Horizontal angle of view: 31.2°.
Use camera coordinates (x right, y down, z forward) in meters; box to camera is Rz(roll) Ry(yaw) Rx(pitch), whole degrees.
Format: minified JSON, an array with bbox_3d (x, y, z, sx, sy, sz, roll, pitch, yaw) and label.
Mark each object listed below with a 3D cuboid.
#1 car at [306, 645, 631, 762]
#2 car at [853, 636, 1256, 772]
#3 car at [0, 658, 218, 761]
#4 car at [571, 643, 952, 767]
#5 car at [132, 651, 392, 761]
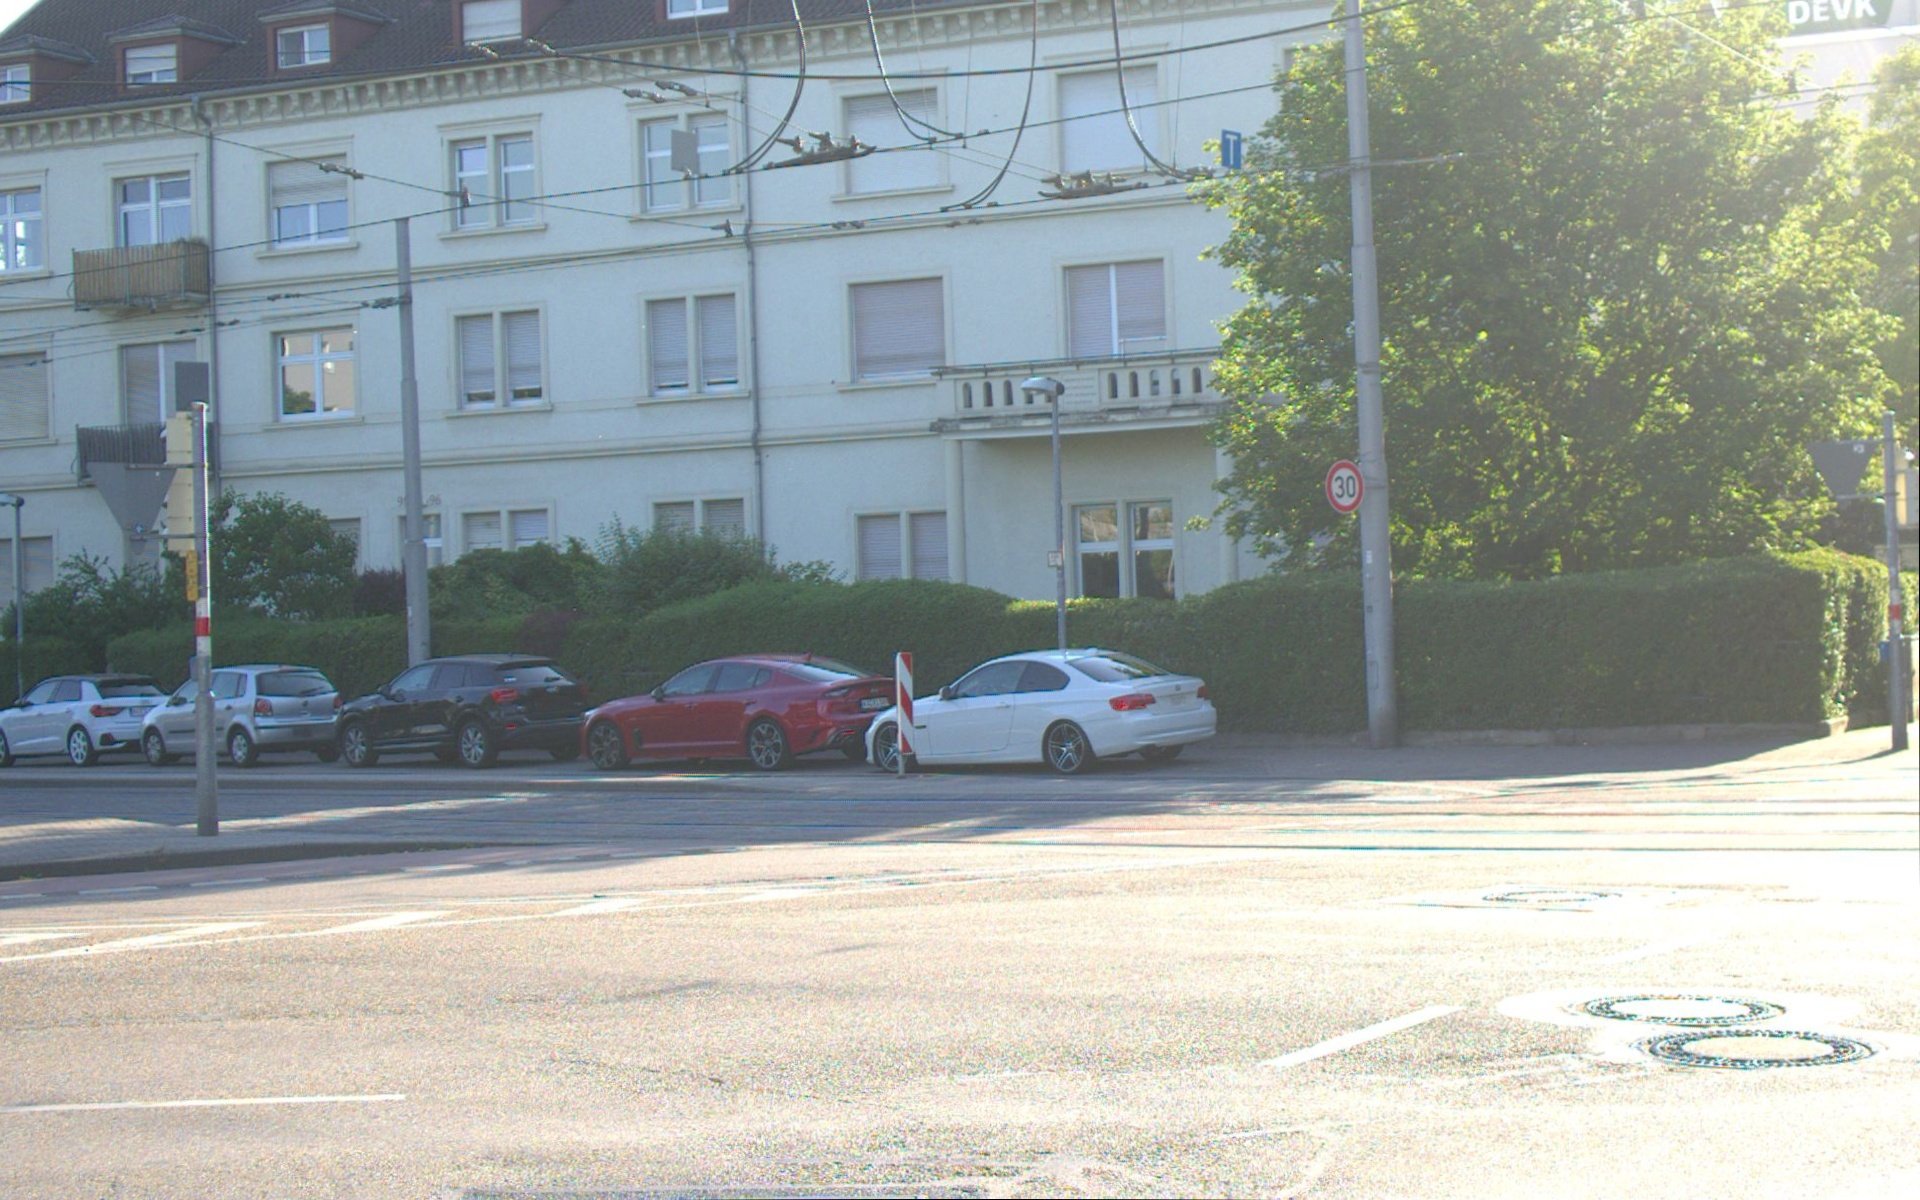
[{"bbox_3d":[-6.902,1.439,47.968,4.702,1.442,1.982,-2,2,45],"label":"car"},{"bbox_3d":[1.053,1.208,40.028,4.493,1.372,1.926,-2,2,43],"label":"car"},{"bbox_3d":[-13.630,1.719,54.227,3.956,1.442,1.840,-2,2,45],"label":"car"},{"bbox_3d":[-2.572,1.345,43.766,4.701,1.372,1.983,-2,1,40],"label":"car"},{"bbox_3d":[-10.367,1.569,50.967,3.716,1.442,1.982,-2,2,45],"label":"car"}]
